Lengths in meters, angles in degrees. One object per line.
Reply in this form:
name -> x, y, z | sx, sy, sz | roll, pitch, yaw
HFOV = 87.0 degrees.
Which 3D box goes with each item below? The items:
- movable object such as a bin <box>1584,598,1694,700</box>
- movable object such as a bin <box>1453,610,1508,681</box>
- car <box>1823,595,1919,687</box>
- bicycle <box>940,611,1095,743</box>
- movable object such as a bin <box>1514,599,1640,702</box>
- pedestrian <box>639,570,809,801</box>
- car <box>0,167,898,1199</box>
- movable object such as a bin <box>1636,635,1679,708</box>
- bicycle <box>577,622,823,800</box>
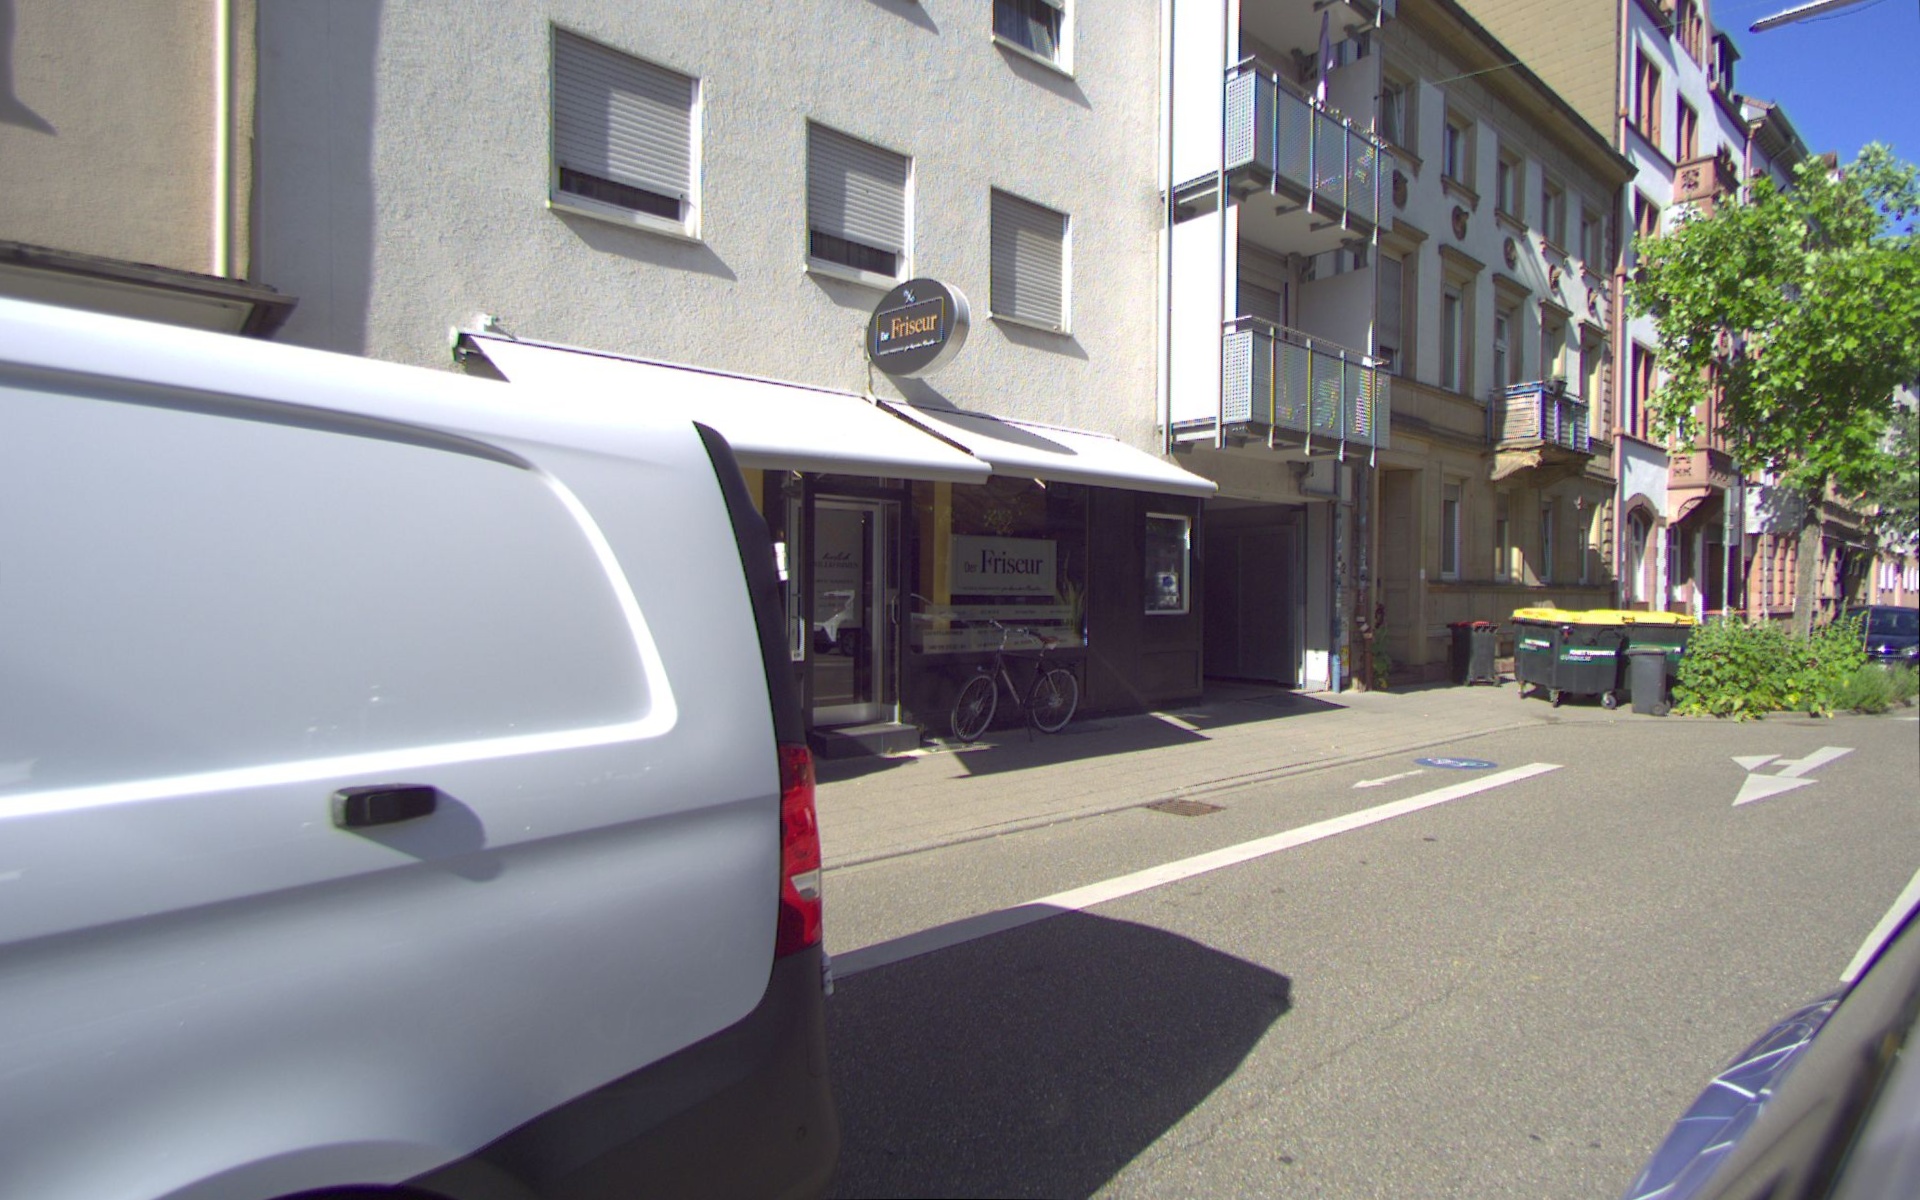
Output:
movable object such as a bin -> 9.962, 0.686, 14.898 | 0.943, 1.364, 1.066 | 1, 3, 11
movable object such as a bin -> 8.536, 0.741, 16.621 | 0.557, 1.094, 0.617 | 1, 3, 1
car -> 16.840, 0.675, 18.211 | 3.293, 1.510, 1.550 | 0, 1, -41
bicycle -> 0.606, 0.720, 10.101 | 1.760, 1.193, 0.402 | 0, 0, -41
movable object such as a bin -> 8.845, 0.701, 14.575 | 1.030, 1.341, 1.216 | 1, 3, 1
pedestrian -> -1.776, 0.582, 7.598 | 0.930, 1.556, 0.825 | 0, 4, -41
car -> -2.508, 0.492, 0.855 | 4.914, 1.892, 1.837 | 0, 1, -44
movable object such as a bin -> 9.574, 0.973, 13.884 | 0.399, 0.933, 0.478 | 3, 3, 41
bicycle -> -1.904, 0.773, 7.595 | 1.760, 1.146, 0.402 | 0, 4, -41
